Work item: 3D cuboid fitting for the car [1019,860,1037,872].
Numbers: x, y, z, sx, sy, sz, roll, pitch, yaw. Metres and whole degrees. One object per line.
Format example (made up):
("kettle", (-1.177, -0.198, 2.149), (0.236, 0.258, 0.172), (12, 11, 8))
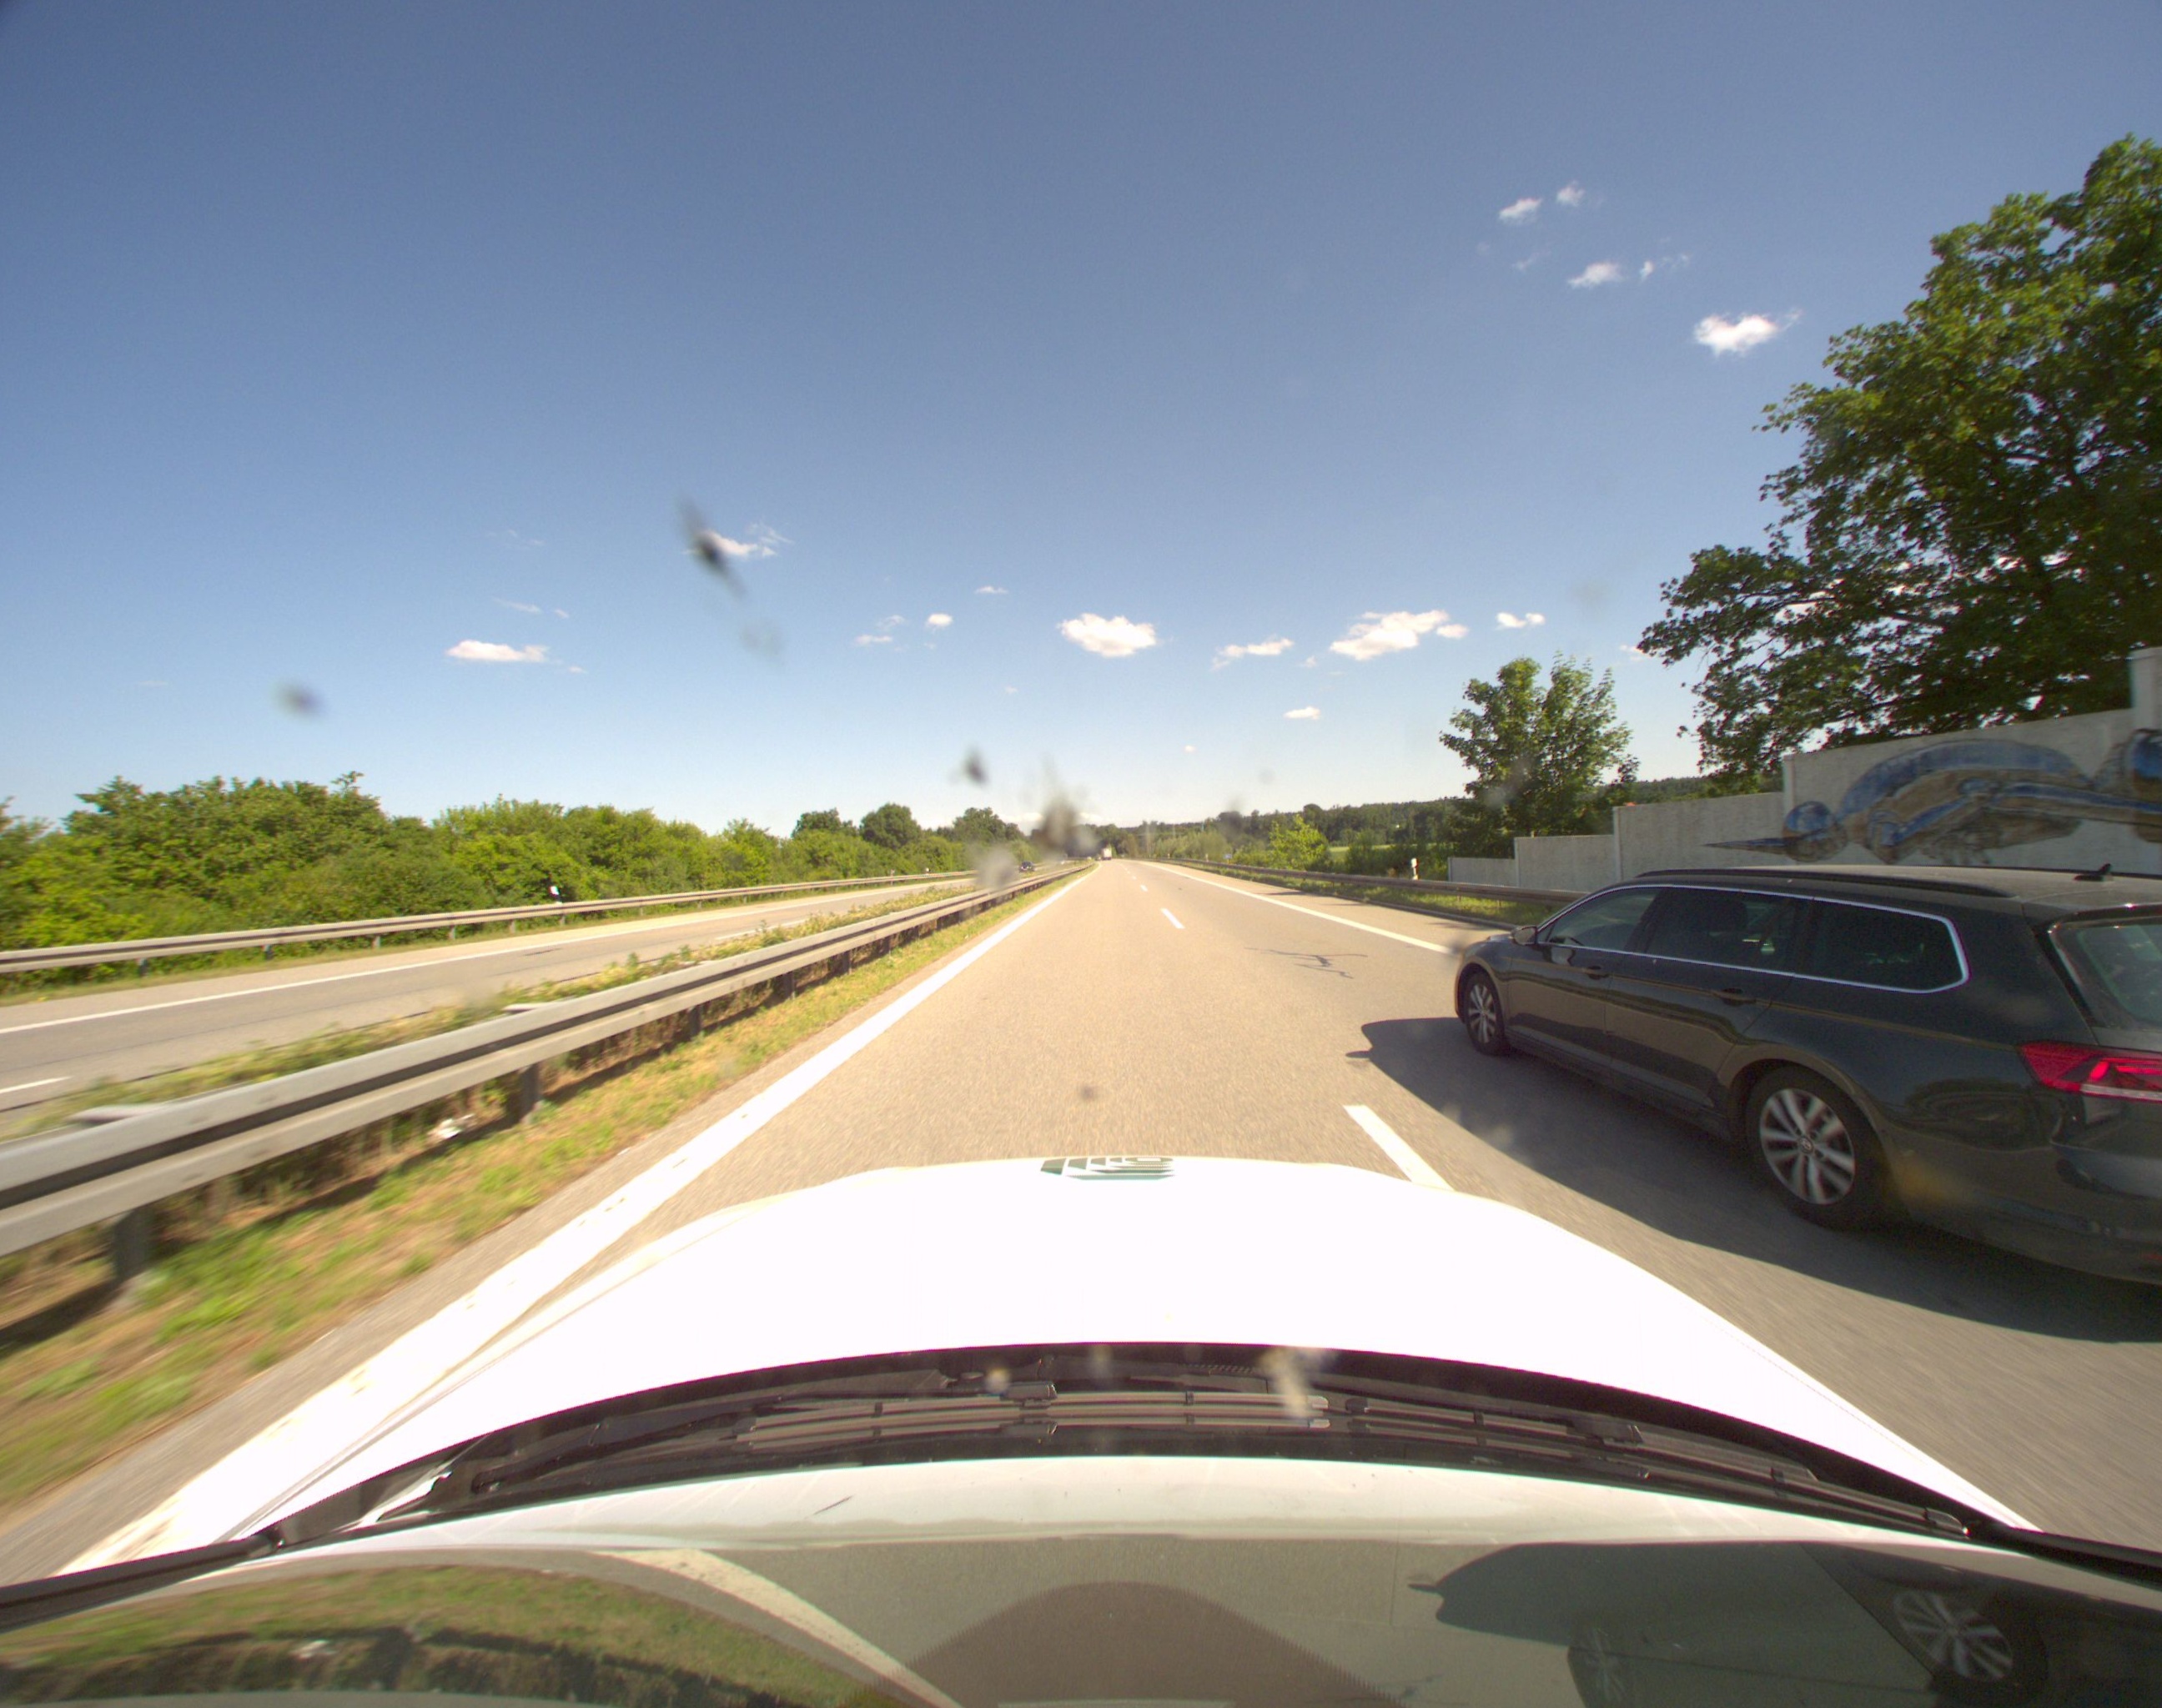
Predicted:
("car", (-6.924, 1.522, 107.268), (1.731, 1.445, 4.772), (-3, 0, 3))

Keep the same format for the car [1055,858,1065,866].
("car", (-4.511, 1.746, 174.362), (1.903, 1.588, 4.916), (-4, 0, 0))

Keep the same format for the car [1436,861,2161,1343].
("car", (3.772, 0.749, 4.601), (1.712, 1.400, 4.415), (0, -1, 2))
